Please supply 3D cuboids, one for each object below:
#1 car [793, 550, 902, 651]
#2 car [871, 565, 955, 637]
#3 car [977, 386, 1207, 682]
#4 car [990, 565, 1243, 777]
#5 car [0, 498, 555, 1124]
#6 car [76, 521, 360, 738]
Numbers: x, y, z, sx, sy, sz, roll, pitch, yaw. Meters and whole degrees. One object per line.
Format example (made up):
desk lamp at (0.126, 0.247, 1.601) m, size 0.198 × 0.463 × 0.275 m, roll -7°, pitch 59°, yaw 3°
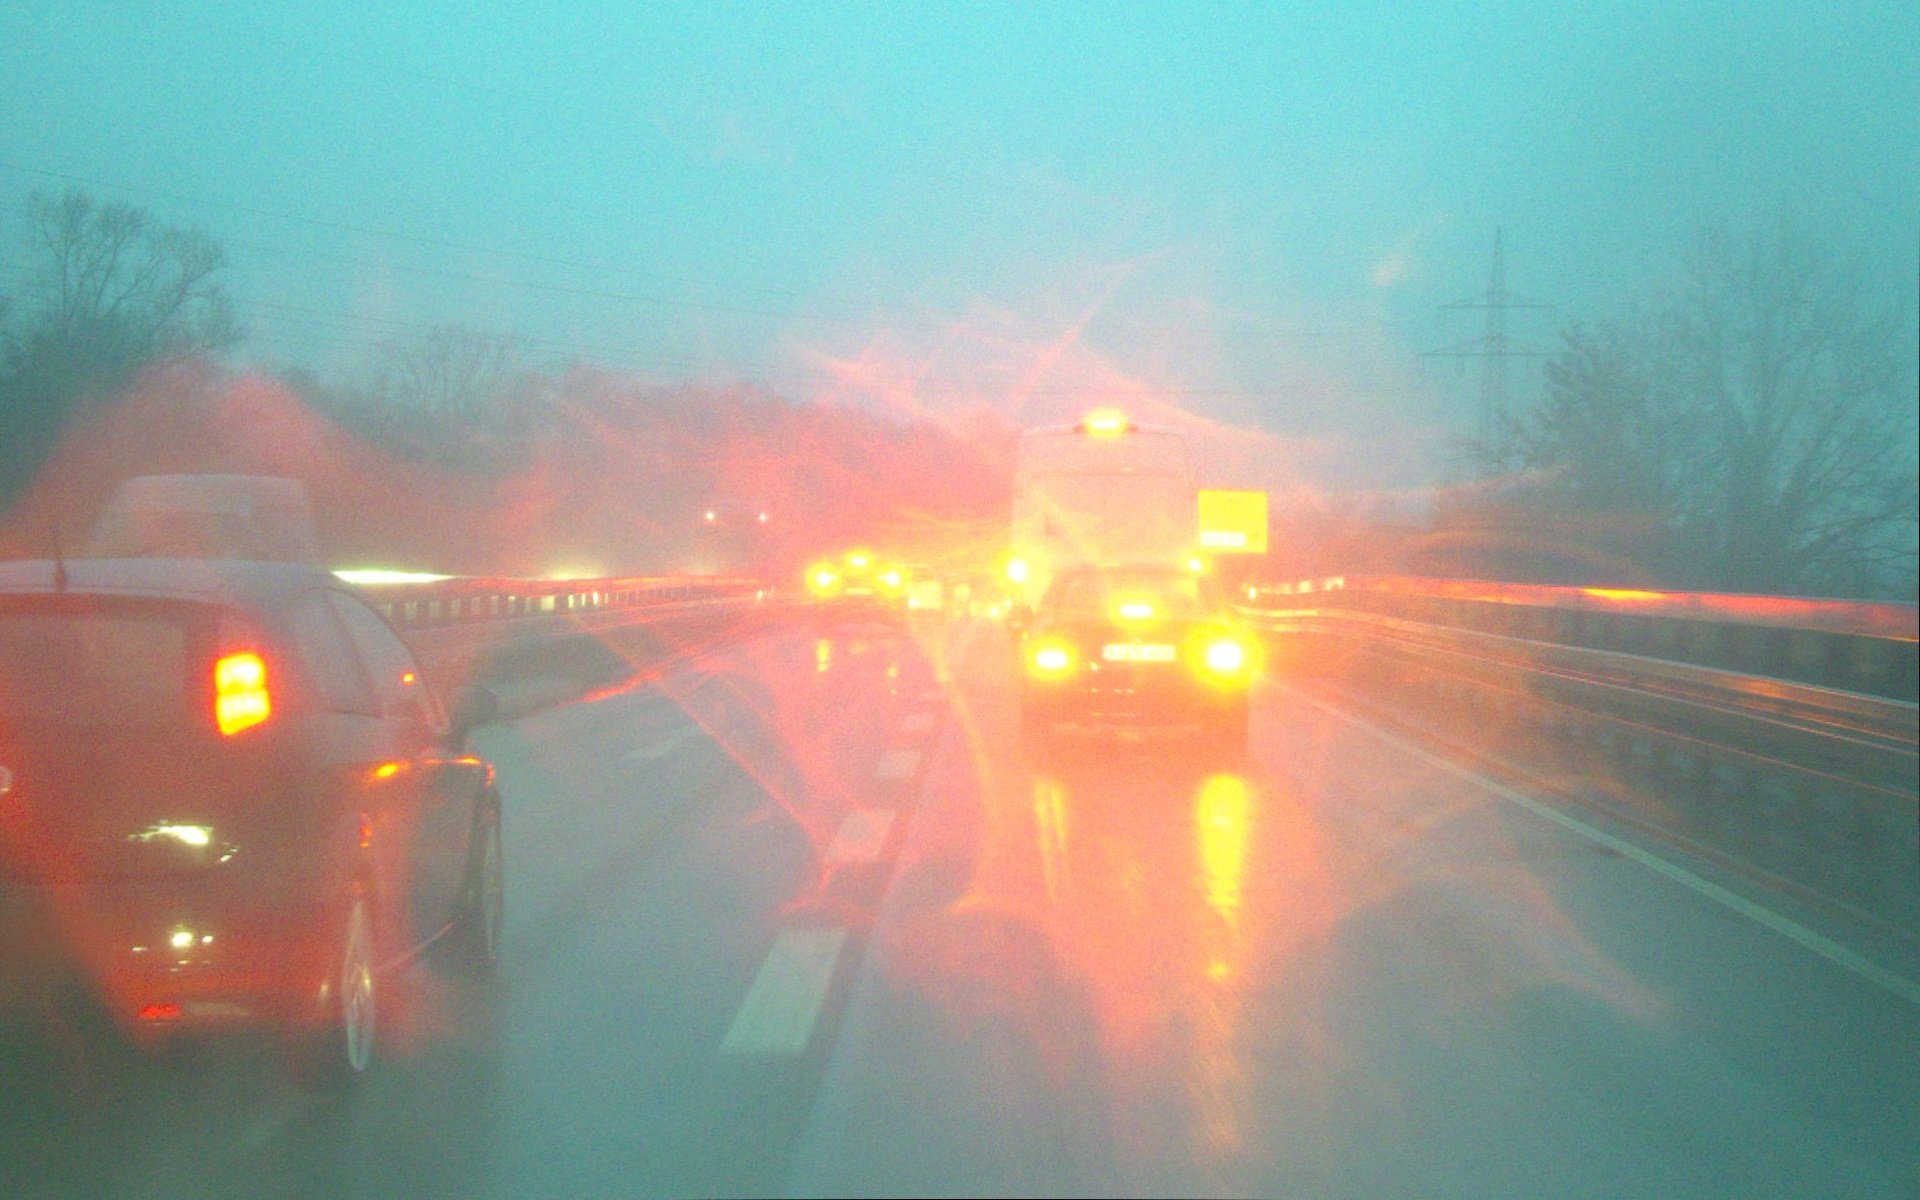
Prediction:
car at (-2.199, -0.019, 68.226) m, size 1.993 × 1.808 × 4.000 m, roll 3°, pitch 1°, yaw -1°
car at (-1.193, 0.023, 85.732) m, size 1.993 × 1.708 × 4.000 m, roll 1°, pitch 0°, yaw -1°
car at (1.365, -0.661, 37.631) m, size 2.282 × 2.956 × 6.390 m, roll 0°, pitch 0°, yaw 1°
car at (1.195, 0.481, 26.608) m, size 1.736 × 1.410 × 4.377 m, roll 3°, pitch 1°, yaw 2°
car at (-2.394, 0.531, 10.440) m, size 1.730 × 1.527 × 4.042 m, roll 0°, pitch -1°, yaw 2°
car at (-8.208, 0.301, 38.517) m, size 2.049 × 2.255 × 5.208 m, roll 0°, pitch 0°, yaw 0°
